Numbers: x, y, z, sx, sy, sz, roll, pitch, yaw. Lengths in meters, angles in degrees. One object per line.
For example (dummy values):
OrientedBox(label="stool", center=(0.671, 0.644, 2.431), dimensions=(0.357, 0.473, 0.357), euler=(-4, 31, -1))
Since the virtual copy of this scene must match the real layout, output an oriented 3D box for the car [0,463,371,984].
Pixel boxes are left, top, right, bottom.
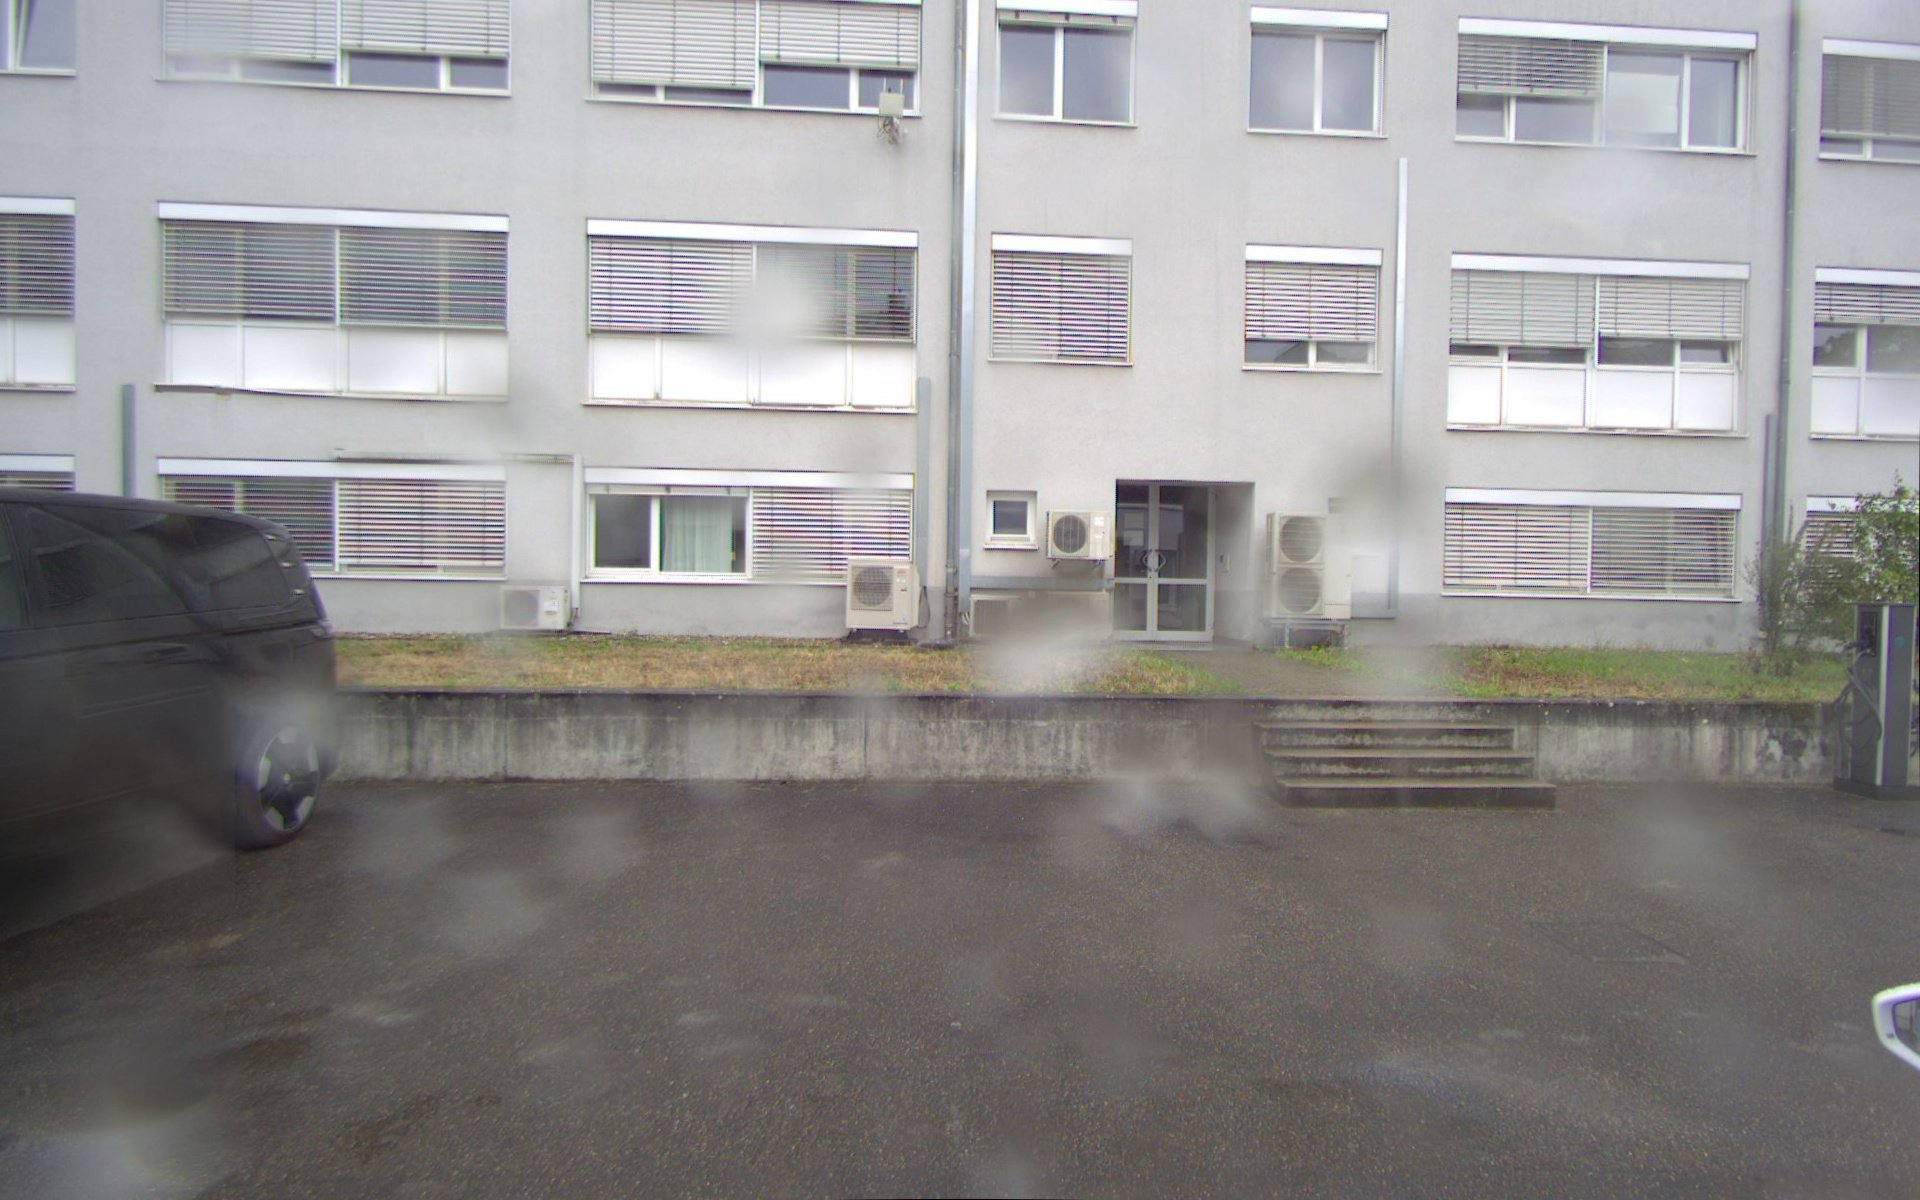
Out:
OrientedBox(label="car", center=(-4.579, 0.451, 4.070), dimensions=(2.008, 1.923, 4.518), euler=(0, 1, -5))
